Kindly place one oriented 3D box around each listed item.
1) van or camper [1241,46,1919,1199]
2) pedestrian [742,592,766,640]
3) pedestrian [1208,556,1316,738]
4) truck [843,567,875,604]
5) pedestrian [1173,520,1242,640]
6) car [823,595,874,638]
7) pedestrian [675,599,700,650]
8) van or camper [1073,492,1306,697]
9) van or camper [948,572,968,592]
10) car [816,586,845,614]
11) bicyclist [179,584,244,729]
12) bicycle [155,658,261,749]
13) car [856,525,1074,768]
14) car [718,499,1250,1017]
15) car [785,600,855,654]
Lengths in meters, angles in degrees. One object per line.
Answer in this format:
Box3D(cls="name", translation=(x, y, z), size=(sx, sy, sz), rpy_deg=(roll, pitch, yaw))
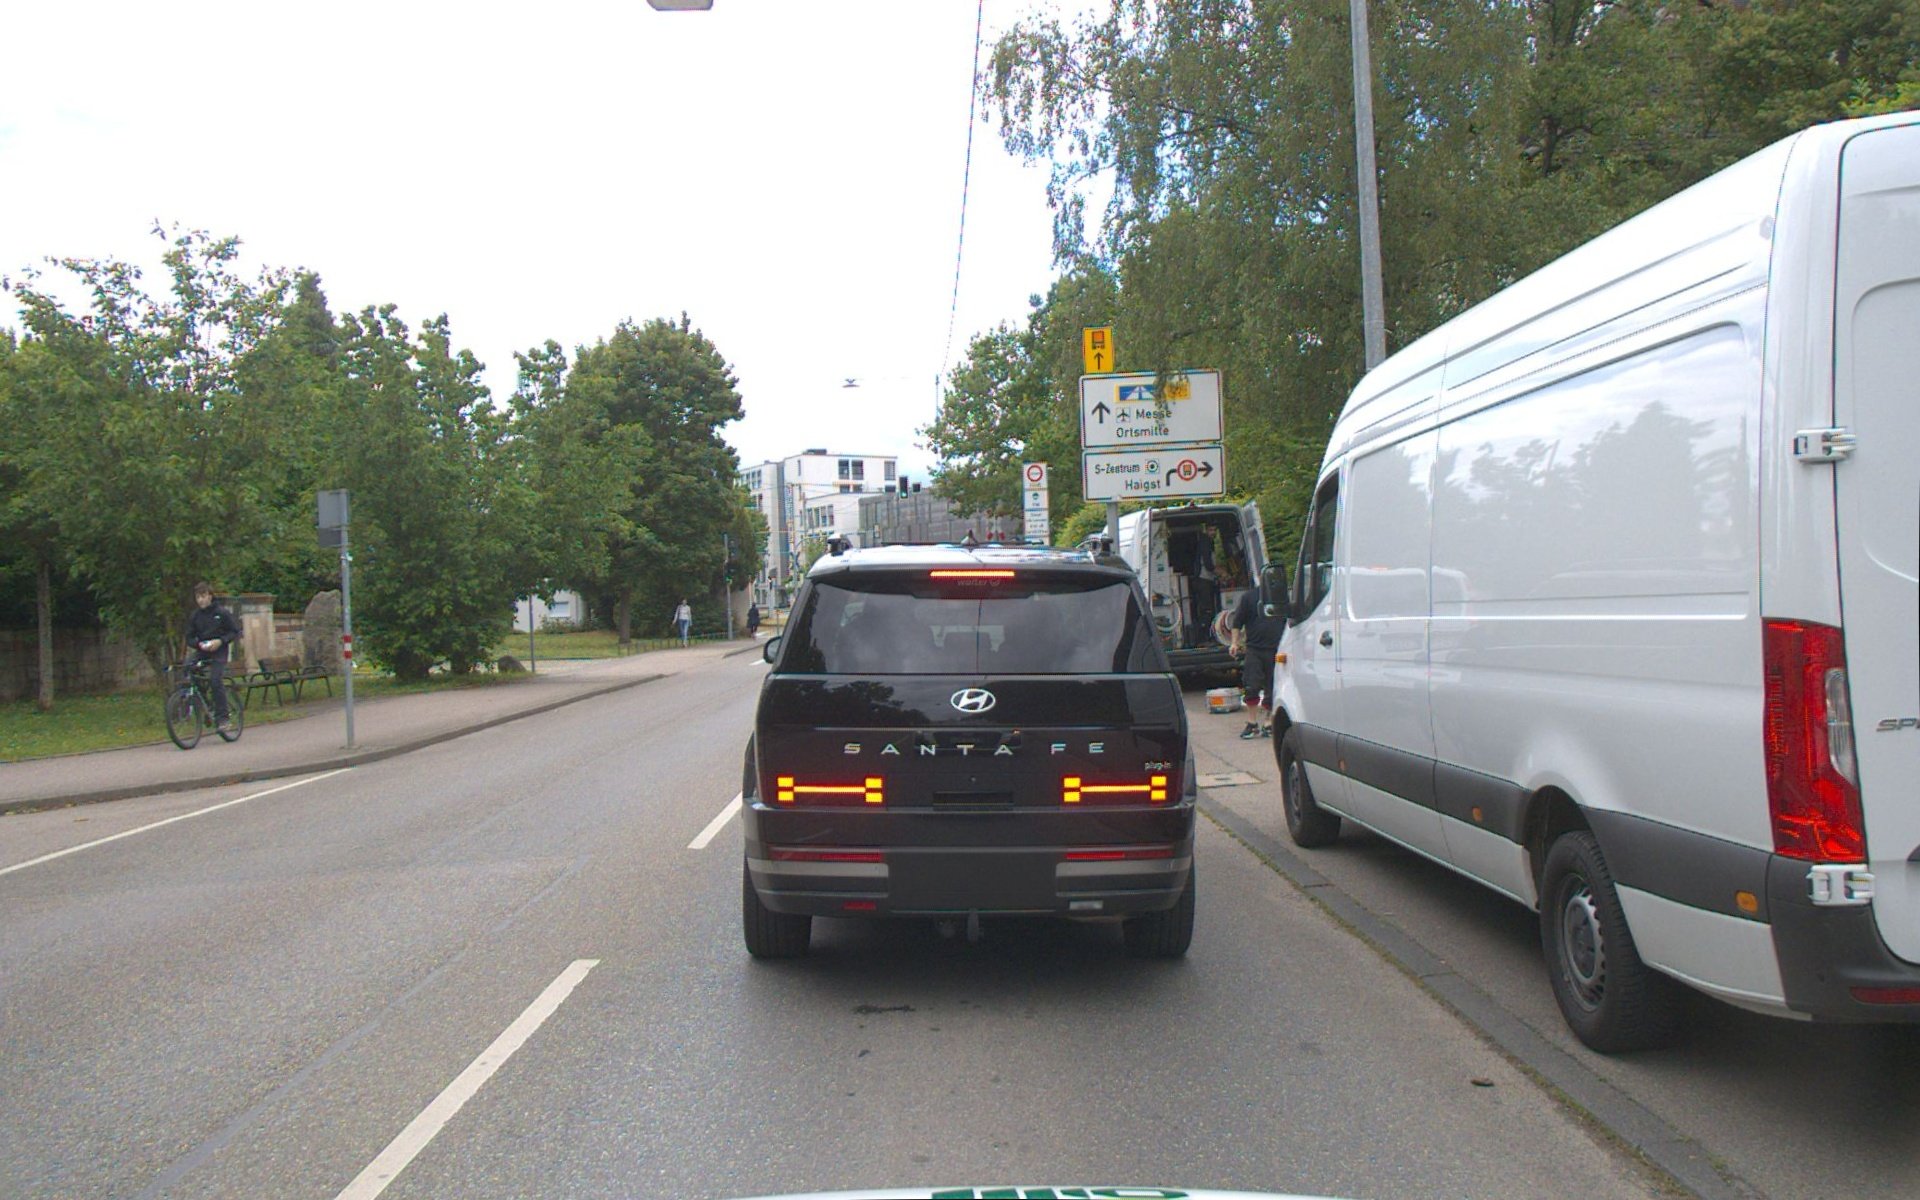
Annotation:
Box3D(cls="van or camper", translation=(2.867, 0.033, 7.034), size=(1.951, 2.670, 6.543), rpy_deg=(-5, 0, -1))
Box3D(cls="pedestrian", translation=(-8.922, 0.701, 71.648), size=(0.812, 2.049, 1.047), rpy_deg=(1, -1, 1))
Box3D(cls="pedestrian", translation=(2.990, 0.460, 16.409), size=(0.777, 1.751, 0.748), rpy_deg=(1, -1, -20))
Box3D(cls="truck", translation=(-11.480, -1.563, 186.965), size=(3.048, 3.926, 9.607), rpy_deg=(-2, 0, -7))
Box3D(cls="pedestrian", translation=(3.590, -0.288, 23.945), size=(0.782, 1.672, 0.739), rpy_deg=(-3, -1, 20))
Box3D(cls="car", translation=(-4.306, 0.617, 64.201), size=(1.667, 1.509, 3.999), rpy_deg=(-4, 0, -1))
Box3D(cls="pedestrian", translation=(-9.738, 0.867, 59.079), size=(0.751, 1.779, 0.904), rpy_deg=(0, 0, -2))
Box3D(cls="van or camper", translation=(3.279, -0.023, 25.315), size=(2.294, 2.537, 6.600), rpy_deg=(-5, -1, -2))
Box3D(cls="van or camper", translation=(-0.197, -1.881, 172.502), size=(1.760, 2.033, 3.820), rpy_deg=(1, 0, -4))
Box3D(cls="car", translation=(-11.278, -0.013, 143.970), size=(2.288, 2.356, 4.950), rpy_deg=(-2, 0, -7))
Box3D(cls="bicyclist", translation=(-8.980, 0.670, 19.850), size=(0.477, 1.713, 0.588), rpy_deg=(1, -1, -1))
Box3D(cls="bicycle", translation=(-8.986, 1.221, 19.827), size=(0.485, 0.981, 1.748), rpy_deg=(1, 0, -1))
Box3D(cls="car", translation=(0.017, 0.413, 16.328), size=(1.858, 2.077, 3.993), rpy_deg=(1, 0, -1))
Box3D(cls="car", translation=(0.060, 0.570, 7.863), size=(1.858, 1.807, 3.993), rpy_deg=(1, 0, -1))
Box3D(cls="car", translation=(-4.182, 0.787, 49.915), size=(1.721, 1.427, 4.413), rpy_deg=(-4, 0, -1))
